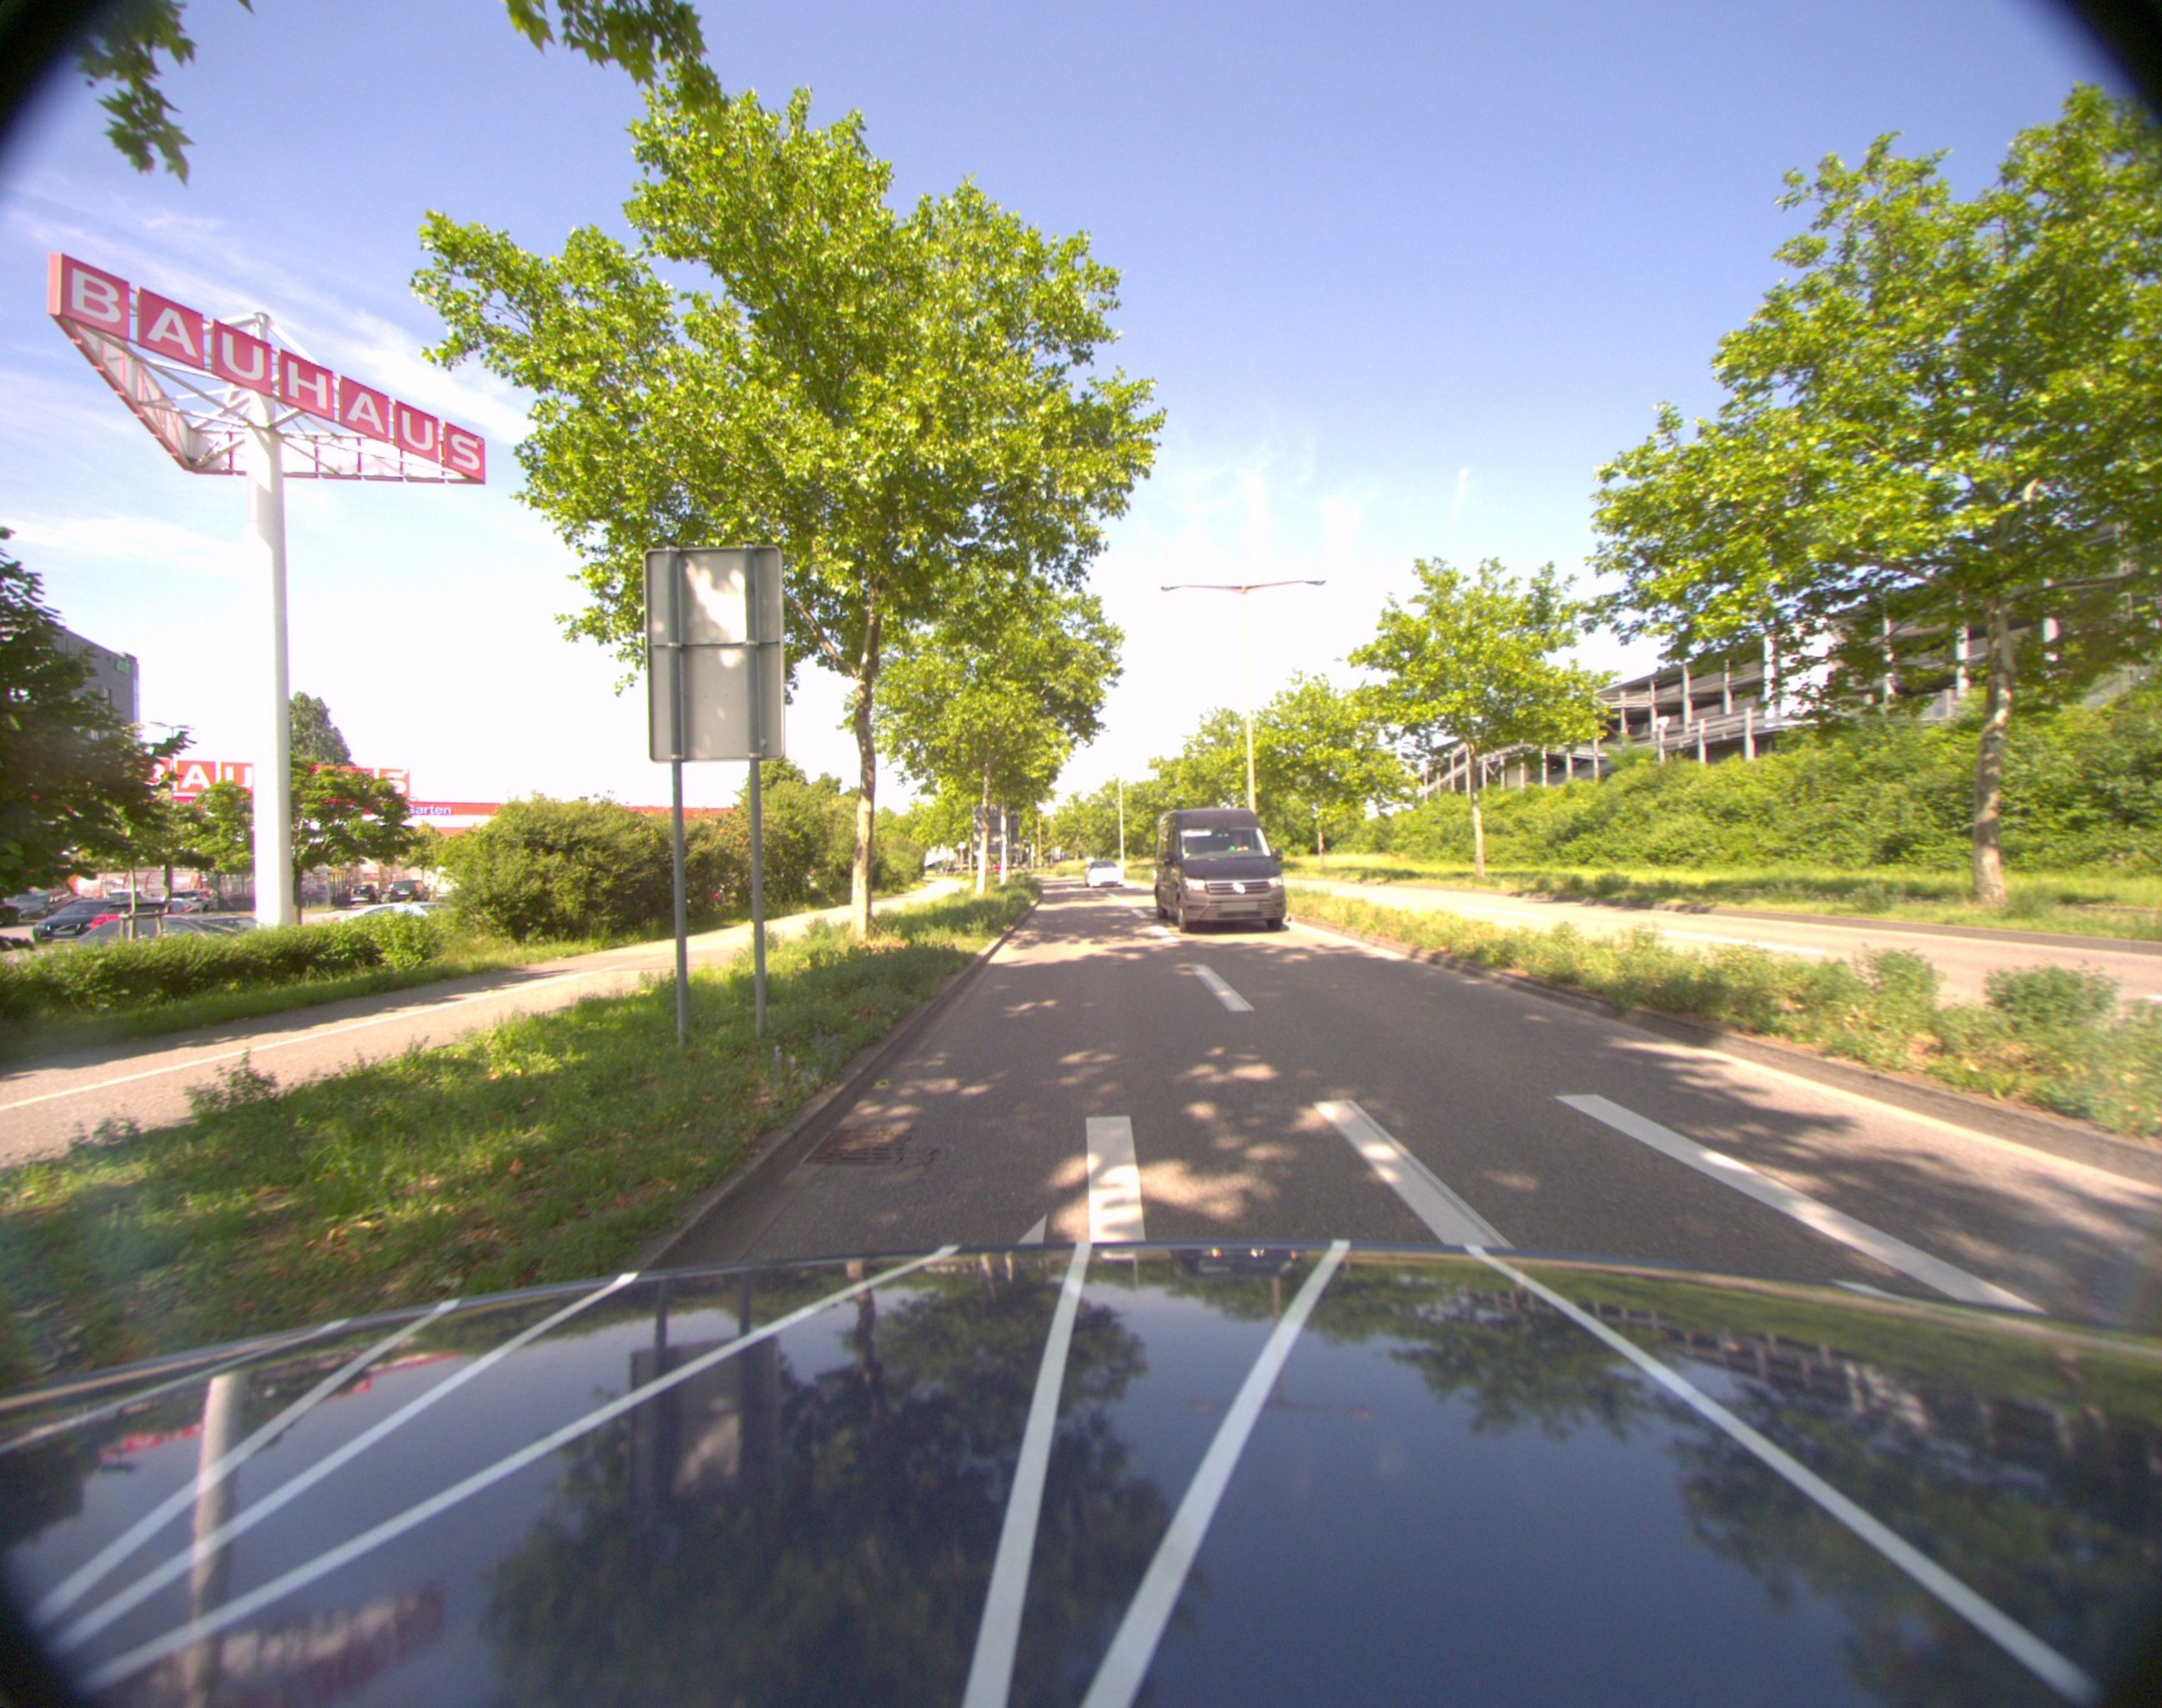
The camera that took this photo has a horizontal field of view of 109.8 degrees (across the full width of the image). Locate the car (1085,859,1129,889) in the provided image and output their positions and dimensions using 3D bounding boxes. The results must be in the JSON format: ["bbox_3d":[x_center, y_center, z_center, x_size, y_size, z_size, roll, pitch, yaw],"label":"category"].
[{"bbox_3d":[1.415,1.093,42.846,1.825,1.512,4.206,-2,0,-7],"label":"car"}]

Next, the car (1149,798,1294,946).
[{"bbox_3d":[2.825,0.303,16.855,2.021,2.592,6.168,-2,0,0],"label":"car"}]

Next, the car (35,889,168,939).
[{"bbox_3d":[-36.760,2.195,28.679,1.632,1.618,4.747,0,-2,-34],"label":"car"}]

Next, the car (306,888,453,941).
[{"bbox_3d":[-20.816,1.778,22.617,3.161,1.447,1.195,-1,1,-2],"label":"car"}]

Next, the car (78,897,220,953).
[{"bbox_3d":[-31.465,2.333,25.809,2.003,1.499,3.990,-2,1,-35],"label":"car"}]
